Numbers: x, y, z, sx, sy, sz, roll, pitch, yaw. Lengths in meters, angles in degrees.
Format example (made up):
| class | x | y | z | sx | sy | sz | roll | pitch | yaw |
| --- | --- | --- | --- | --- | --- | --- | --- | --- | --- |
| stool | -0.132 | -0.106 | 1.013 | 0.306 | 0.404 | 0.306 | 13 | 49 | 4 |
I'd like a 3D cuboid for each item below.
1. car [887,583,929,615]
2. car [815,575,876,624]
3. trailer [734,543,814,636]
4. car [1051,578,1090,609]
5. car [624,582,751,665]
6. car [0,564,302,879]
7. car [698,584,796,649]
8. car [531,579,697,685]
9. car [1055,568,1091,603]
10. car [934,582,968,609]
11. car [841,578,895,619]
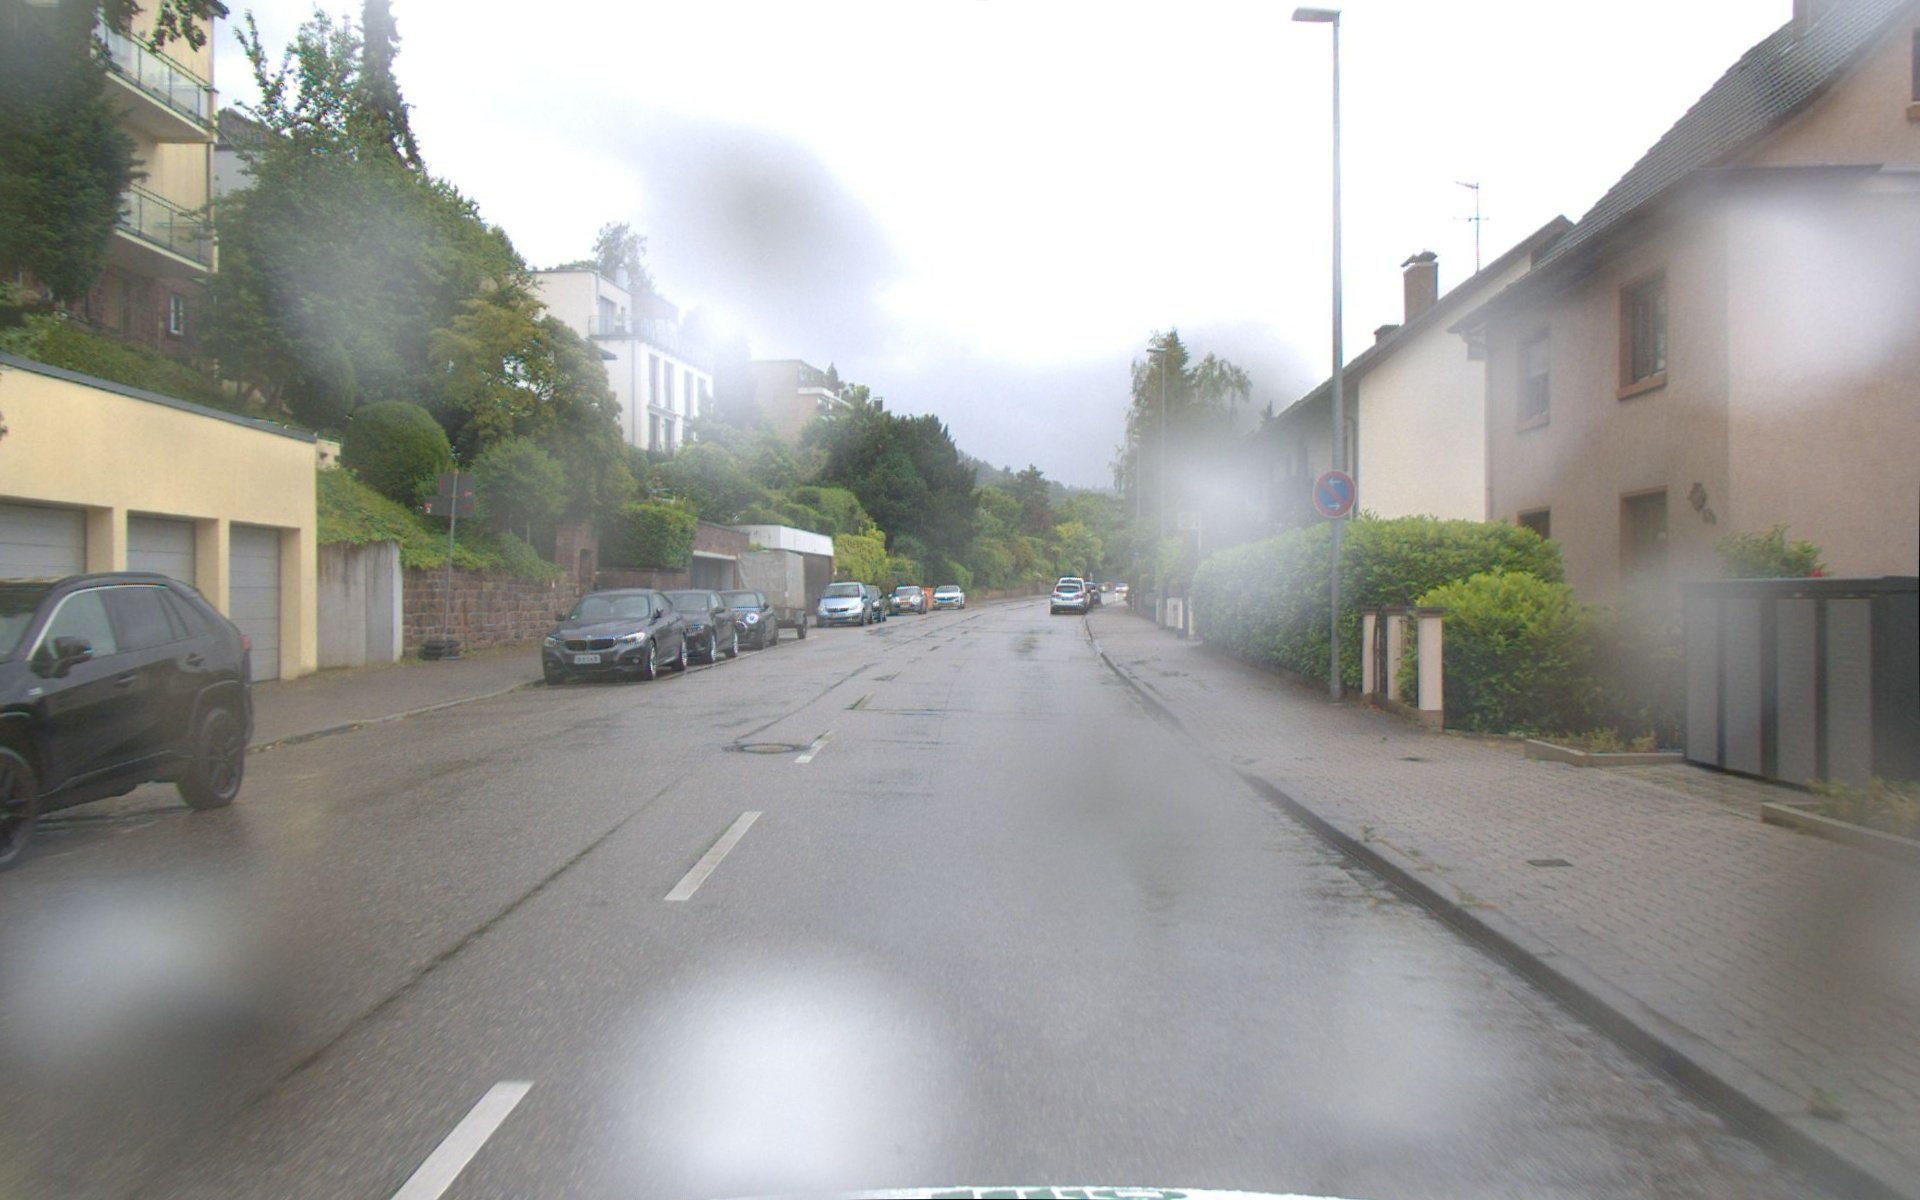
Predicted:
| class | x | y | z | sx | sy | sz | roll | pitch | yaw |
| --- | --- | --- | --- | --- | --- | --- | --- | --- | --- |
| car | -2.596 | -0.077 | 84.028 | 1.719 | 1.426 | 3.772 | -4 | 1 | 3 |
| car | -4.199 | -0.047 | 61.220 | 1.719 | 1.565 | 3.758 | -5 | 1 | 3 |
| trailer | -5.214 | -0.315 | 46.765 | 1.504 | 2.441 | 3.075 | -4 | 1 | 5 |
| car | 5.628 | -0.364 | 83.876 | 1.751 | 1.485 | 4.312 | -1 | 1 | 6 |
| car | -5.559 | 0.441 | 34.214 | 1.749 | 1.439 | 4.219 | -3 | 1 | 1 |
| car | -6.042 | 0.689 | 10.361 | 1.836 | 1.653 | 4.594 | -5 | 1 | 1 |
| car | -5.232 | 0.367 | 41.076 | 1.771 | 1.372 | 3.777 | -3 | 1 | 1 |
| car | -5.838 | 0.470 | 28.476 | 1.749 | 1.480 | 4.756 | -4 | 1 | 0 |
| car | 6.162 | -0.782 | 89.727 | 1.746 | 1.821 | 4.364 | -1 | 1 | 6 |
| car | -0.561 | -0.296 | 103.098 | 1.719 | 1.524 | 4.222 | -3 | 1 | 4 |
| car | -3.687 | -0.079 | 66.833 | 1.719 | 1.433 | 3.706 | -5 | 1 | 3 |
